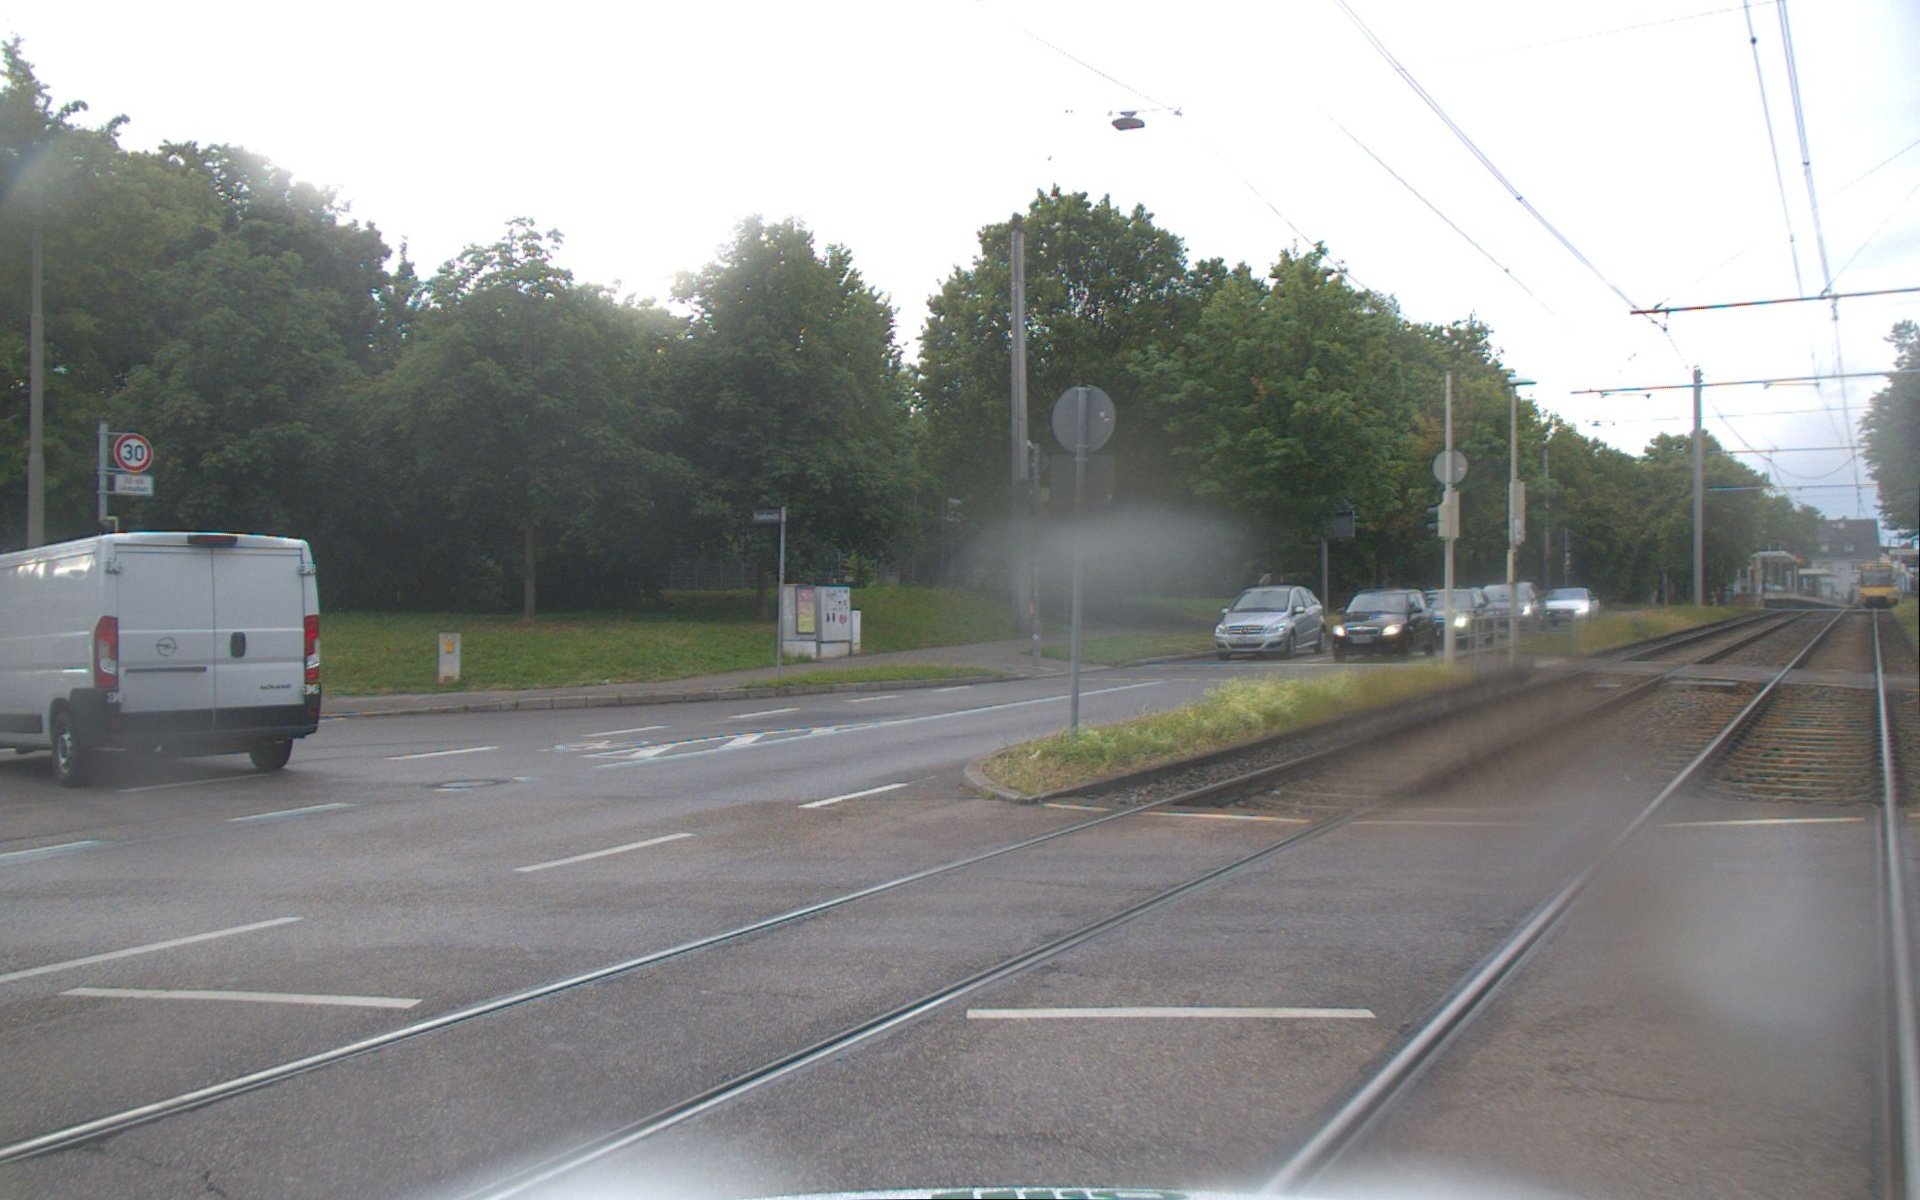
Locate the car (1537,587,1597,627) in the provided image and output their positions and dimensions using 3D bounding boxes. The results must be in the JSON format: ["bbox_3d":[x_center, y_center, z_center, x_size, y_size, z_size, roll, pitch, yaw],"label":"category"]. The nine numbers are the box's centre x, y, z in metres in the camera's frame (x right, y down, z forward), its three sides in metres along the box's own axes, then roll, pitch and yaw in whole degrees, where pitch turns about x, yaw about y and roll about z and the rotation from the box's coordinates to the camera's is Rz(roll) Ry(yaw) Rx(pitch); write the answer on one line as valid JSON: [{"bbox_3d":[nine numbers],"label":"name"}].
[{"bbox_3d":[22.884,0.232,62.295,1.570,1.426,3.786,-1,0,28],"label":"car"}]

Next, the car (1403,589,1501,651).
[{"bbox_3d":[12.310,0.472,41.238,1.570,1.426,3.786,-2,-1,28],"label":"car"}]

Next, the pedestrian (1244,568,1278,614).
[{"bbox_3d":[10.828,-0.312,59.456,0.993,1.629,1.039,0,0,24],"label":"pedestrian"}]

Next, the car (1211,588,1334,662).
[{"bbox_3d":[7.326,0.558,38.519,1.686,1.581,3.857,-3,-1,28],"label":"car"}]

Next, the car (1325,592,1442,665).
[{"bbox_3d":[9.182,0.576,35.656,1.571,1.426,3.786,2,1,28],"label":"car"}]

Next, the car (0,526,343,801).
[{"bbox_3d":[-8.288,0.508,16.541,2.138,2.323,4.979,-1,1,-45],"label":"car"}]

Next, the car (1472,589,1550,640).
[{"bbox_3d":[16.432,0.398,49.227,1.571,1.426,3.786,2,1,28],"label":"car"}]

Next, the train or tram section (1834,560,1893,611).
[{"bbox_3d":[75.545,-1.300,138.122,3.985,3.962,15.012,2,2,30],"label":"train or tram section"}]
